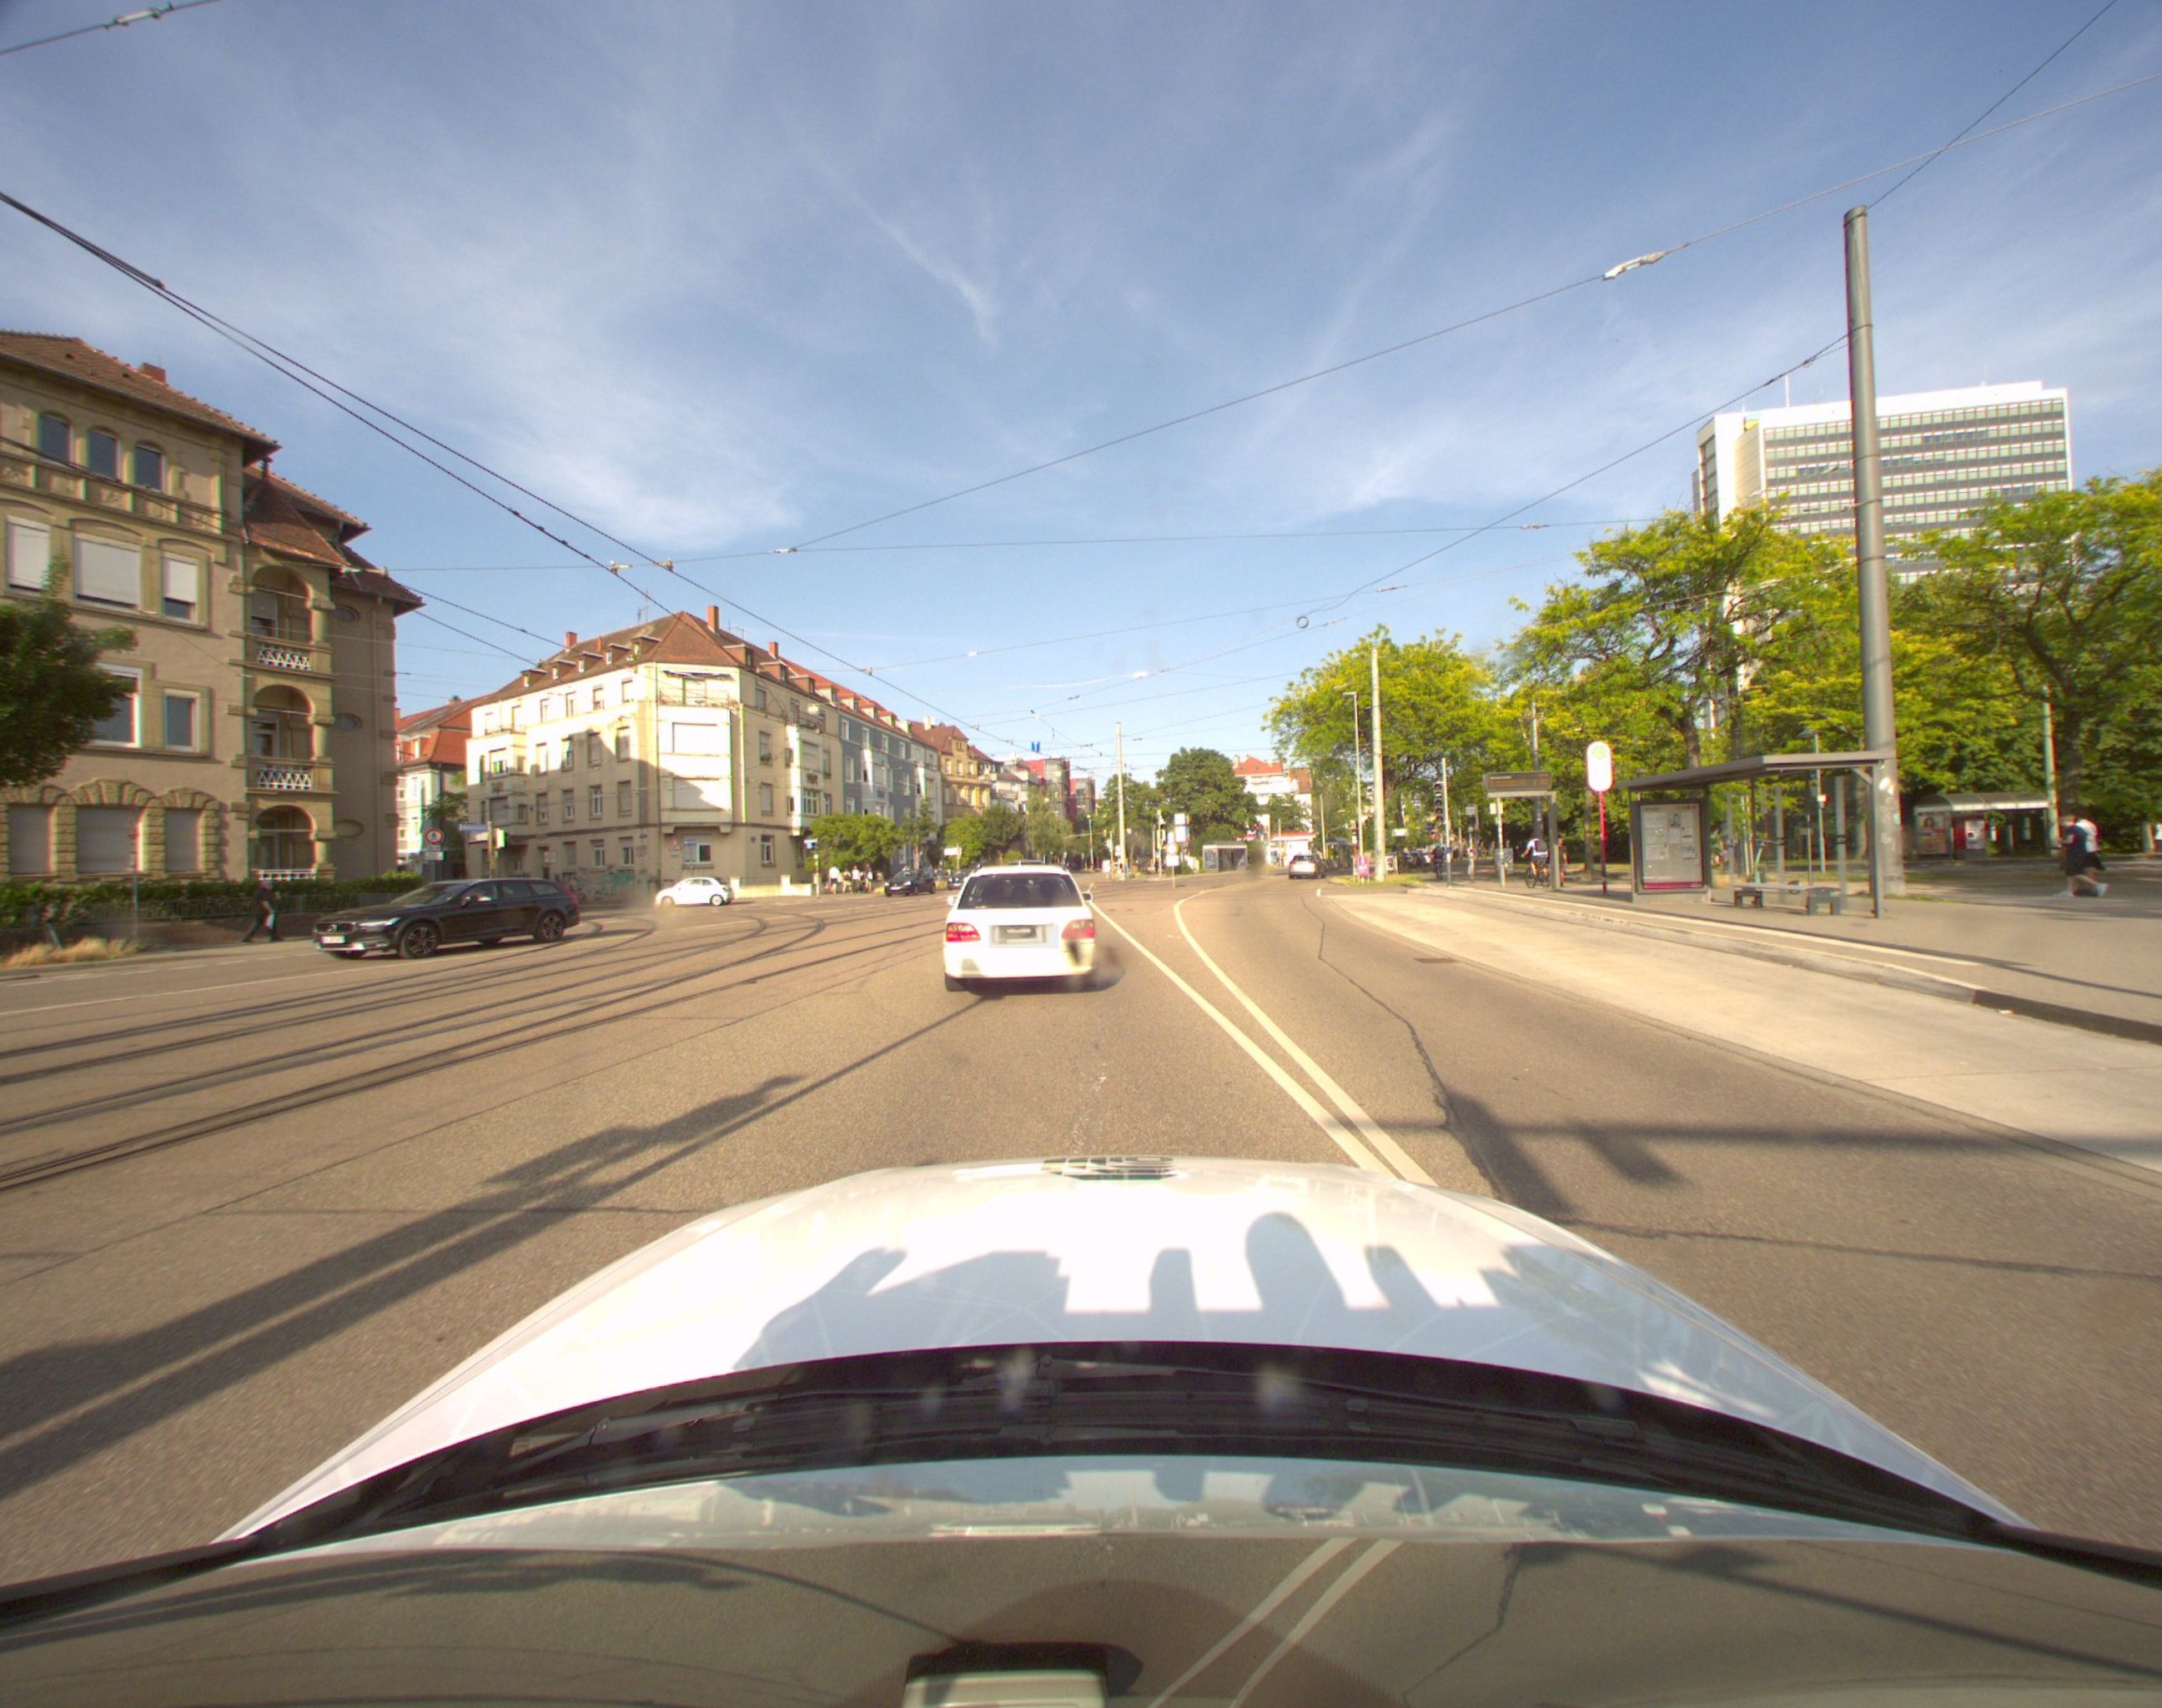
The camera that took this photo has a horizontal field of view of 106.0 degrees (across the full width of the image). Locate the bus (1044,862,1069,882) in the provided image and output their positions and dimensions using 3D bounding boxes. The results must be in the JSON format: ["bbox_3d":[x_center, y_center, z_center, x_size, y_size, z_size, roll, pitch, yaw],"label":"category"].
[{"bbox_3d":[-2.205,1.609,73.276,1.837,1.636,4.162,-2,-1,3],"label":"bus"}]

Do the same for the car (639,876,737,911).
[{"bbox_3d":[-19.434,1.943,40.442,3.987,1.457,1.794,-2,-1,-10],"label":"car"}]

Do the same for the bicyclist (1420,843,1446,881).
[{"bbox_3d":[16.967,0.403,39.293,0.716,1.745,1.142,-5,-1,7],"label":"bicyclist"}]

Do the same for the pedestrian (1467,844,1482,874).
[{"bbox_3d":[22.769,0.299,47.083,0.635,1.665,0.694,-2,-1,19],"label":"pedestrian"}]

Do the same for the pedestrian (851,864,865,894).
[{"bbox_3d":[-14.362,1.626,52.401,0.581,1.881,0.628,-2,-1,7],"label":"pedestrian"}]

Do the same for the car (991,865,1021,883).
[{"bbox_3d":[-6.471,1.716,70.534,1.680,1.441,4.008,-2,0,7],"label":"car"}]

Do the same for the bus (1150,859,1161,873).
[{"bbox_3d":[12.290,2.037,134.365,1.789,2.333,4.004,0,-1,4],"label":"bus"}]

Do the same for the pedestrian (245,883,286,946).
[{"bbox_3d":[-22.312,1.643,22.283,0.672,1.651,0.608,-2,-1,29],"label":"pedestrian"}]

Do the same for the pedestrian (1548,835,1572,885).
[{"bbox_3d":[17.046,0.211,28.984,0.574,1.777,0.589,0,-1,11],"label":"pedestrian"}]

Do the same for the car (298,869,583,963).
[{"bbox_3d":[-13.170,1.187,17.240,1.756,1.494,4.756,-2,1,9],"label":"car"}]

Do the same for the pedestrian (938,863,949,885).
[{"bbox_3d":[-11.291,1.627,66.893,0.635,1.751,0.913,-2,-1,6],"label":"pedestrian"}]

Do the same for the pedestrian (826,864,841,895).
[{"bbox_3d":[-15.198,1.555,50.029,0.655,1.881,0.628,-2,-1,7],"label":"pedestrian"}]

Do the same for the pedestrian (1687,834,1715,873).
[{"bbox_3d":[27.348,-0.006,35.912,0.638,1.665,0.691,-2,-1,3],"label":"pedestrian"}]

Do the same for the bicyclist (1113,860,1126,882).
[{"bbox_3d":[3.025,1.311,63.460,0.895,1.699,0.733,-3,-1,3],"label":"bicyclist"}]

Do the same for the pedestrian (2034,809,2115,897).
[{"bbox_3d":[20.803,-0.017,17.058,0.672,1.777,0.875,0,-1,-17],"label":"pedestrian"}]

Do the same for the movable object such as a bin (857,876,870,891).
[{"bbox_3d":[-14.234,1.926,53.292,0.579,0.947,0.665,-2,-1,12],"label":"movable object such as a bin"}]

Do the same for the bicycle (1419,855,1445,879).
[{"bbox_3d":[17.014,0.642,39.505,0.637,1.088,1.737,-5,-1,7],"label":"bicycle"}]

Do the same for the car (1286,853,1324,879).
[{"bbox_3d":[14.370,0.740,52.052,1.819,1.600,3.836,-1,-1,23],"label":"car"}]

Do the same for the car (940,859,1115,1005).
[{"bbox_3d":[-0.836,0.831,10.463,1.835,1.501,3.803,0,-1,-9],"label":"car"}]

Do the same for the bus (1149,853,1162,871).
[{"bbox_3d":[10.826,1.173,118.802,1.789,2.555,4.005,0,-1,5],"label":"bus"}]

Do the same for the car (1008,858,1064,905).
[{"bbox_3d":[-1.590,0.962,30.004,1.635,1.600,3.818,-1,-1,3],"label":"car"}]

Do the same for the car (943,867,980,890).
[{"bbox_3d":[-8.275,1.688,56.595,1.625,1.433,3.635,-2,-1,7],"label":"car"}]

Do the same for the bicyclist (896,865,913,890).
[{"bbox_3d":[-12.212,1.603,56.358,0.757,1.668,1.168,-2,-1,4],"label":"bicyclist"}]

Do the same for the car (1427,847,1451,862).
[{"bbox_3d":[40.291,-0.003,91.508,1.835,1.515,4.025,-4,-1,32],"label":"car"}]

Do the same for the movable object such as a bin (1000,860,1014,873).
[{"bbox_3d":[-8.623,1.453,95.285,1.600,1.421,1.083,-2,-1,-4],"label":"movable object such as a bin"}]

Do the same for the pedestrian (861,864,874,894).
[{"bbox_3d":[-13.761,1.591,52.532,0.581,1.881,0.628,-2,-1,8],"label":"pedestrian"}]

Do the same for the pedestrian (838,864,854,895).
[{"bbox_3d":[-14.490,1.580,50.136,0.670,1.848,0.651,-2,-1,10],"label":"pedestrian"}]

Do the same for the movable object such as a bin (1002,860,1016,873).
[{"bbox_3d":[-8.494,1.446,96.551,1.531,1.421,1.083,-2,-1,-4],"label":"movable object such as a bin"}]

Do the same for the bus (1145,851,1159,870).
[{"bbox_3d":[9.041,0.844,104.169,1.789,2.413,4.004,0,-1,4],"label":"bus"}]

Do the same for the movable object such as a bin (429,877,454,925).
[{"bbox_3d":[-23.682,1.723,30.186,0.265,1.709,2.361,-2,-1,-28],"label":"movable object such as a bin"}]

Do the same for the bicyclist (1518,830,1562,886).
[{"bbox_3d":[15.082,0.133,26.779,0.646,1.745,1.140,-5,-1,2],"label":"bicyclist"}]

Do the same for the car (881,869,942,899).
[{"bbox_3d":[-9.315,1.623,45.145,1.755,1.433,4.014,-2,-1,12],"label":"car"}]

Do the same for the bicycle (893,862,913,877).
[{"bbox_3d":[-12.268,1.035,56.073,0.765,0.965,2.036,-2,-1,4],"label":"bicycle"}]

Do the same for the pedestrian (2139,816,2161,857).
[{"bbox_3d":[47.583,-0.770,36.051,0.666,1.800,0.613,0,-1,17],"label":"pedestrian"}]

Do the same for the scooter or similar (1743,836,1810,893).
[{"bbox_3d":[15.604,0.232,18.286,0.351,1.232,1.131,-2,-1,-11],"label":"scooter or similar"}]

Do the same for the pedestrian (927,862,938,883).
[{"bbox_3d":[-12.220,1.522,67.022,0.635,1.751,0.913,-2,-1,6],"label":"pedestrian"}]

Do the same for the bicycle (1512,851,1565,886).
[{"bbox_3d":[15.168,0.473,27.064,0.638,1.088,1.941,-4,-1,2],"label":"bicycle"}]

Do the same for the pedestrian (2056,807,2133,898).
[{"bbox_3d":[21.699,-0.024,17.445,0.674,1.898,0.873,1,-1,-24],"label":"pedestrian"}]

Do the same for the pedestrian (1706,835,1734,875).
[{"bbox_3d":[27.456,0.053,34.996,0.638,1.665,0.691,-2,-1,3],"label":"pedestrian"}]
